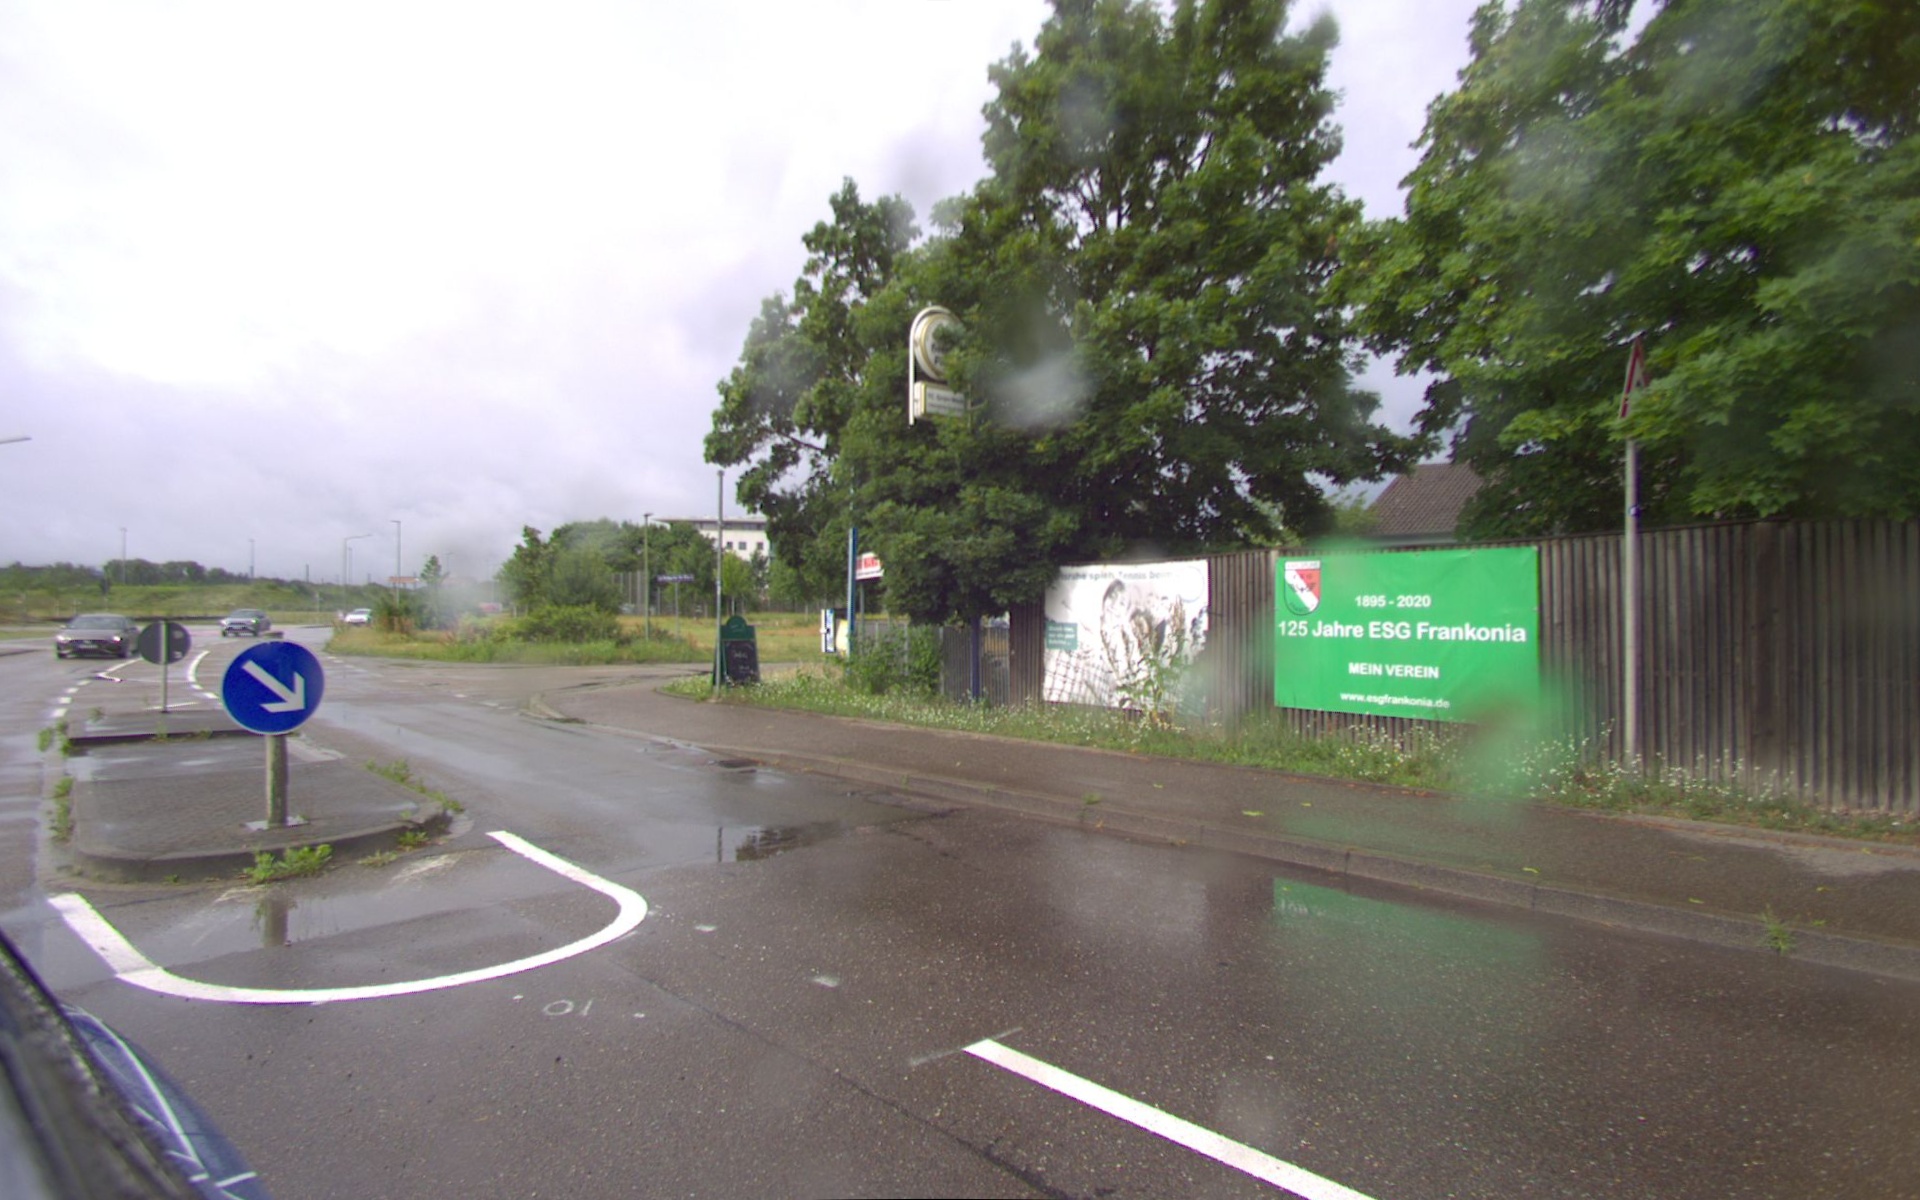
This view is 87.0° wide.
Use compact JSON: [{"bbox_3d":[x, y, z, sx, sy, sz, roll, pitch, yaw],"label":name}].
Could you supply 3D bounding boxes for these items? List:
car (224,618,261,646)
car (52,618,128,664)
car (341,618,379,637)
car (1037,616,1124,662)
[{"bbox_3d":[-44.313,1.941,62.557,1.620,1.645,3.679,0,-1,-31],"label":"car"},{"bbox_3d":[-29.076,1.333,33.901,1.697,1.443,3.826,0,-1,-38],"label":"car"},{"bbox_3d":[-53.483,2.444,90.270,1.769,1.645,3.828,0,-1,-13],"label":"car"},{"bbox_3d":[4.569,1.426,38.083,1.448,1.625,3.449,-1,-1,44],"label":"car"}]
